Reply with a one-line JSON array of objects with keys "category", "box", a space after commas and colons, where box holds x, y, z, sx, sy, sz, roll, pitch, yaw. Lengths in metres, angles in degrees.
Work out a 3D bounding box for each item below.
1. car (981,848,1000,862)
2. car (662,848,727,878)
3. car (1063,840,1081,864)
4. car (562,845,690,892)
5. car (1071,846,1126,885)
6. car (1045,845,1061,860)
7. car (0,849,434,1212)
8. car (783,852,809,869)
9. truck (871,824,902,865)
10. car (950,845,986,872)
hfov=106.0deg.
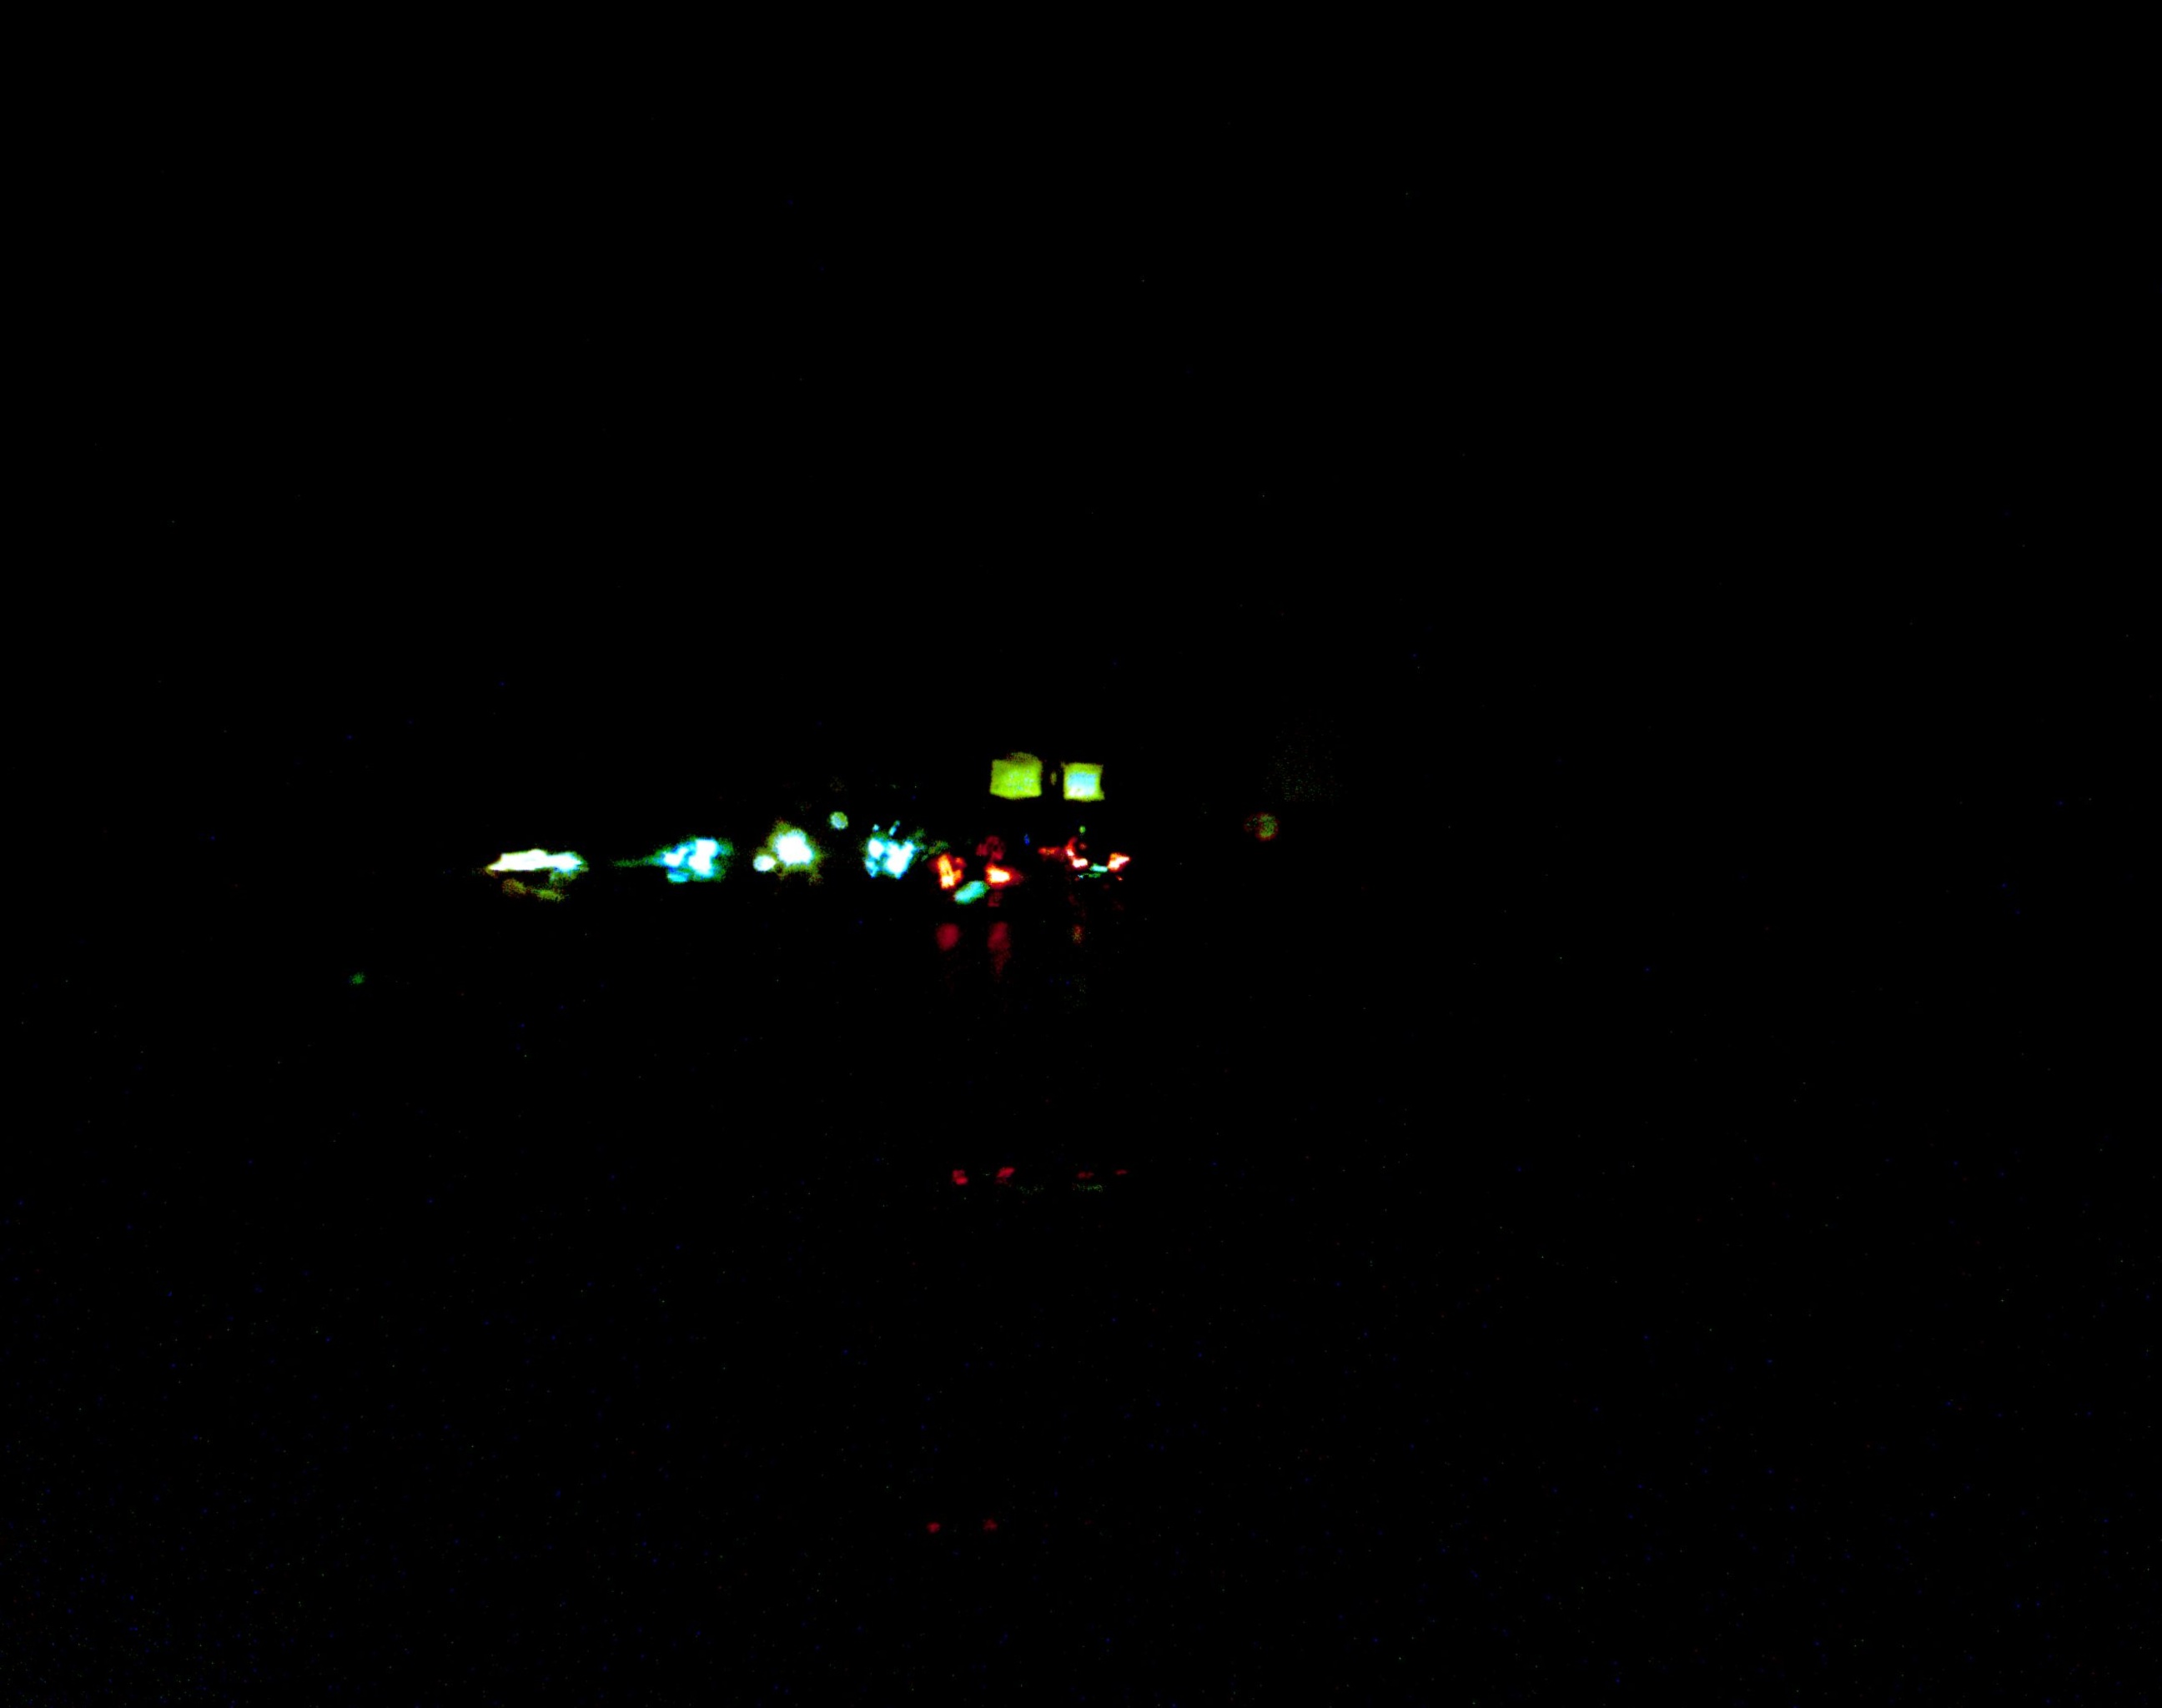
[{"category": "car", "box": [-10.570, 0.126, 95.451, 1.890, 1.545, 3.998, -1, 0, -1]}, {"category": "car", "box": [-22.388, 0.492, 47.307, 1.837, 1.648, 4.329, -1, 0, -2]}, {"category": "car", "box": [-0.765, -0.196, 69.992, 1.549, 2.013, 3.999, -1, 1, -1]}, {"category": "car", "box": [-18.453, 0.528, 33.439, 2.035, 1.768, 5.596, 0, 0, 1]}, {"category": "car", "box": [0.610, 0.402, 30.760, 1.956, 1.380, 4.048, 0, 0, 0]}, {"category": "car", "box": [-3.622, -0.196, 106.642, 1.988, 2.013, 3.997, -1, 0, -2]}, {"category": "car", "box": [-5.426, 0.753, 3.237, 1.762, 1.517, 4.914, -1, 0, 0]}, {"category": "car", "box": [-31.153, 0.690, 89.189, 1.993, 1.728, 3.988, -1, 0, -9]}, {"category": "truck", "box": [-21.471, -1.005, 90.231, 2.561, 4.404, 5.839, 0, 0, -6]}, {"category": "car", "box": [-6.815, 0.260, 49.489, 1.888, 1.550, 3.994, -1, 0, -4]}]
